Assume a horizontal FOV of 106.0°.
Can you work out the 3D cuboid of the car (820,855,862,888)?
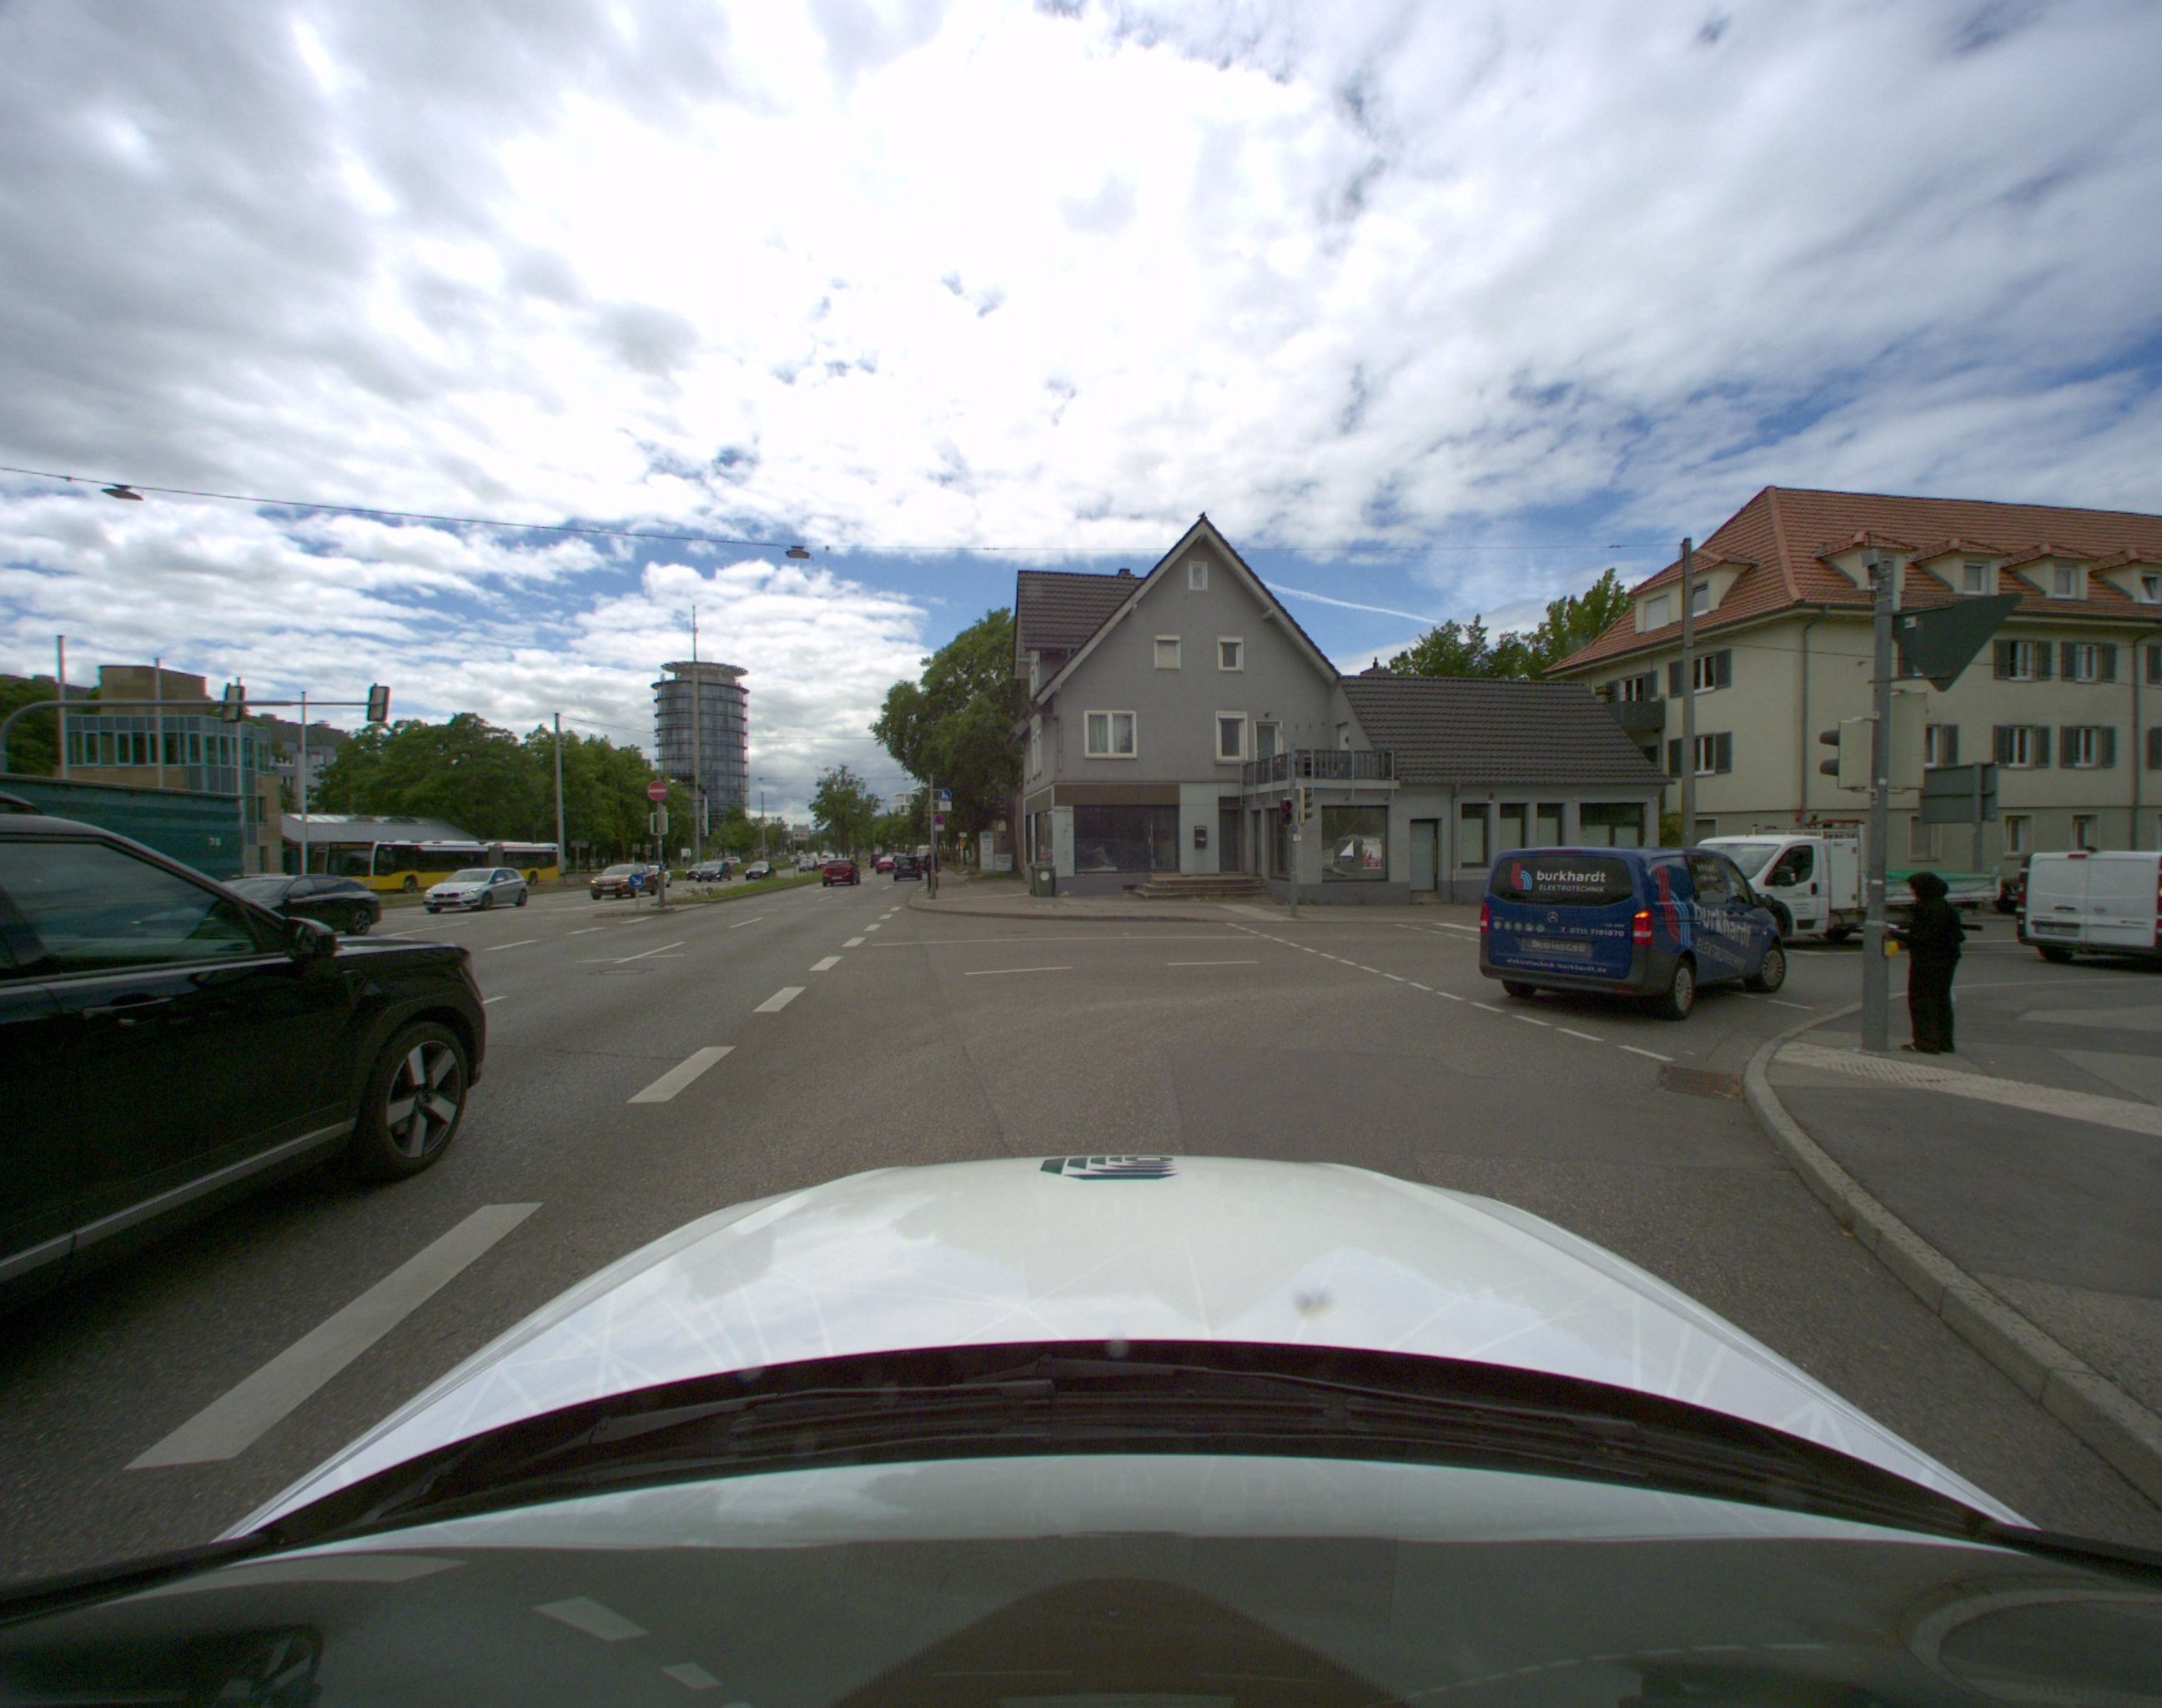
[{"bbox_3d":[-13.494,0.938,46.017,1.746,1.723,3.987,-1,0,-10],"label":"car"}]

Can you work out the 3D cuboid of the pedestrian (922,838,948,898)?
[{"bbox_3d":[-5.017,0.473,28.012,0.770,2.014,0.876,-1,-1,-4],"label":"pedestrian"}]

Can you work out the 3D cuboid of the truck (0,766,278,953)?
[{"bbox_3d":[-23.683,0.189,18.761,3.368,3.727,7.998,-1,-1,-10],"label":"truck"}]

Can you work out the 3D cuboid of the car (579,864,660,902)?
[{"bbox_3d":[-20.594,1.240,36.542,1.995,1.516,3.984,-2,0,-11],"label":"car"}]

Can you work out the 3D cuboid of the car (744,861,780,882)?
[{"bbox_3d":[-25.984,1.388,66.383,1.994,1.574,3.985,-1,0,-11],"label":"car"}]

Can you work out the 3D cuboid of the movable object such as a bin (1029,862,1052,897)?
[{"bbox_3d":[-1.317,0.812,26.267,0.598,1.101,0.570,-1,-1,-16],"label":"movable object such as a bin"}]

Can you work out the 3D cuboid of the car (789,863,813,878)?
[{"bbox_3d":[-32.097,1.884,93.410,1.995,1.574,3.984,-1,0,-12],"label":"car"}]

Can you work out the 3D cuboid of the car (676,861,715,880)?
[{"bbox_3d":[-32.908,1.393,69.612,1.994,1.574,3.985,-1,0,-11],"label":"car"}]

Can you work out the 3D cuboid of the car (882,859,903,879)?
[{"bbox_3d":[-20.734,1.636,89.506,1.998,2.013,3.977,0,0,-17],"label":"car"}]

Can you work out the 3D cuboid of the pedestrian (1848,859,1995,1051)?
[{"bbox_3d":[7.358,0.853,7.154,0.604,1.598,0.607,0,-3,-10],"label":"pedestrian"}]

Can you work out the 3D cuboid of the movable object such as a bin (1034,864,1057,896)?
[{"bbox_3d":[-1.132,0.823,25.693,0.598,0.987,0.570,-1,-1,-16],"label":"movable object such as a bin"}]

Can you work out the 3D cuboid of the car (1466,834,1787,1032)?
[{"bbox_3d":[6.958,0.794,10.221,4.562,1.965,1.932,0,-1,-37],"label":"car"}]

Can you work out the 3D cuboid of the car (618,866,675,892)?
[{"bbox_3d":[-26.896,1.517,50.581,1.996,1.507,4.471,-1,0,-13],"label":"car"}]

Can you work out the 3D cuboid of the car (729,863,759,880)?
[{"bbox_3d":[-33.428,1.722,80.790,1.995,1.574,3.983,-1,0,-12],"label":"car"}]

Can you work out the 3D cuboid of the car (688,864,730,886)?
[{"bbox_3d":[-29.024,1.618,63.655,1.994,1.574,3.985,-1,0,-11],"label":"car"}]

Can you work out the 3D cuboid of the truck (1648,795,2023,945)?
[{"bbox_3d":[14.908,0.353,16.207,6.385,2.701,1.994,1,-1,-9],"label":"truck"}]

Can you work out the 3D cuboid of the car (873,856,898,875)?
[{"bbox_3d":[-17.487,1.045,72.820,1.873,1.486,3.976,-2,-2,-17],"label":"car"}]

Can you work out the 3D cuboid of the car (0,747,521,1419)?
[{"bbox_3d":[-3.799,0.603,2.170,1.921,1.751,4.664,0,0,-8],"label":"car"}]

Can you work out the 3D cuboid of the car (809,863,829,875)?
[{"bbox_3d":[-34.540,1.979,107.427,1.995,1.574,3.984,-1,0,-12],"label":"car"}]

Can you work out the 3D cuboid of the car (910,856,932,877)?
[{"bbox_3d":[-13.981,1.080,71.222,1.747,1.723,3.985,-1,0,-10],"label":"car"}]

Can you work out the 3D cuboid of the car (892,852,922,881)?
[{"bbox_3d":[-11.002,0.751,51.641,1.747,1.723,3.984,-1,0,-11],"label":"car"}]

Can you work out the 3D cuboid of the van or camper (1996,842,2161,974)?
[{"bbox_3d":[18.945,0.849,13.992,5.082,2.013,1.992,1,1,-12],"label":"van or camper"}]

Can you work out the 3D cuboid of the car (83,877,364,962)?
[{"bbox_3d":[-16.983,1.207,16.522,1.999,1.332,4.418,-1,0,-18],"label":"car"}]

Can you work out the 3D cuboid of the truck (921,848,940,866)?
[{"bbox_3d":[-18.114,0.368,98.127,1.992,2.166,5.543,1,-1,-8],"label":"truck"}]
